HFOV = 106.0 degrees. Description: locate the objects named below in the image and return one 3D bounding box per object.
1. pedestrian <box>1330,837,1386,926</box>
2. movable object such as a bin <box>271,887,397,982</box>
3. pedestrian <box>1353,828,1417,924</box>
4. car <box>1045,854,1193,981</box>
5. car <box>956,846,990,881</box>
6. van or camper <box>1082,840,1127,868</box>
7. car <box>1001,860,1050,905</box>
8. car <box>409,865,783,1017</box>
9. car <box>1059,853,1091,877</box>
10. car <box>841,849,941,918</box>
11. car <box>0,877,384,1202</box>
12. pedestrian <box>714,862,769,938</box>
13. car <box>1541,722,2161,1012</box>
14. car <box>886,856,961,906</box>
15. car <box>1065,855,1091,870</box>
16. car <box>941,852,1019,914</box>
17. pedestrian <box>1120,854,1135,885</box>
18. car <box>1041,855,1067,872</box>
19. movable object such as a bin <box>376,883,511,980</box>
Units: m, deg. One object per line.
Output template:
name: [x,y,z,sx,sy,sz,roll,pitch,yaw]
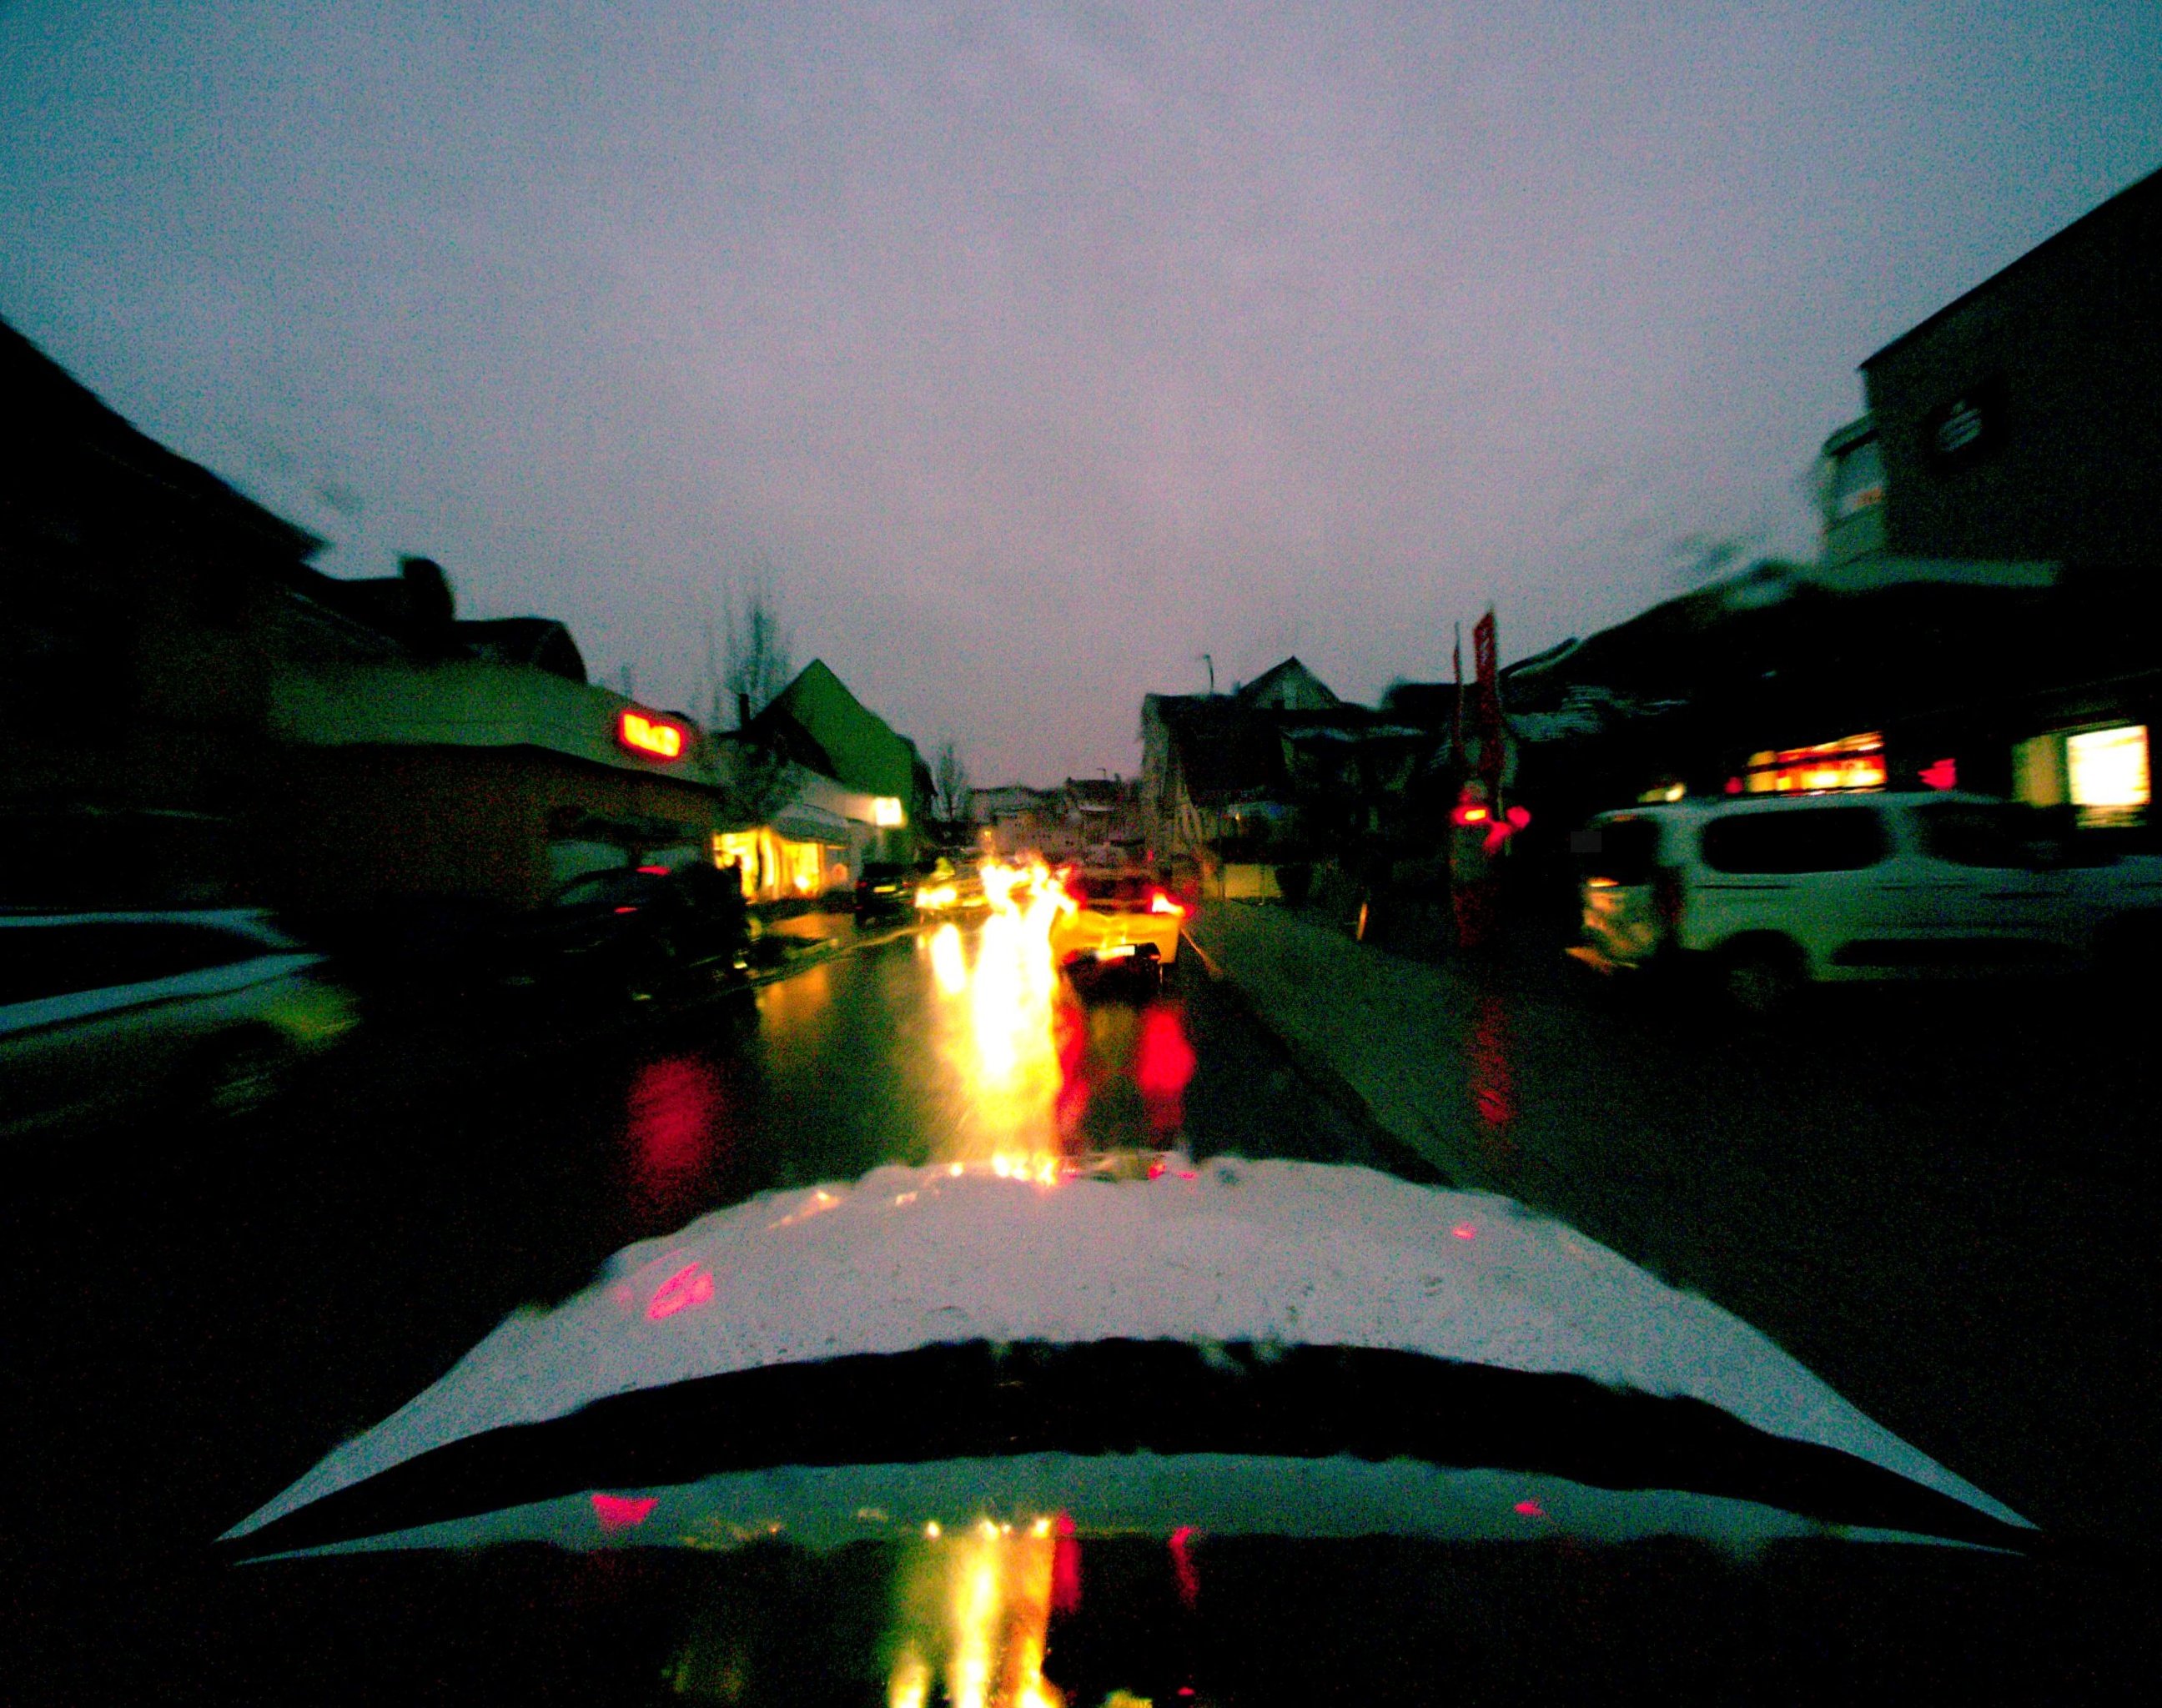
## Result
pedestrian: [5.513,0.546,16.204,0.834,1.705,0.844,-3,-1,28]
movable object such as a bin: [-11.528,1.222,12.611,1.150,1.354,0.848,-1,-1,-10]
pedestrian: [5.688,0.408,15.288,0.702,1.705,0.913,-3,-1,-6]
car: [0.378,0.799,11.993,1.810,1.533,3.995,0,-1,-3]
car: [-8.369,0.758,63.369,2.483,2.560,6.744,0,-1,-7]
van or camper: [2.700,0.002,97.023,2.662,3.047,6.683,-5,1,-22]
car: [-2.399,1.193,35.941,1.947,1.546,4.412,-3,2,-3]
car: [-5.946,0.935,10.945,1.987,1.522,4.977,-1,-1,0]
car: [-0.495,0.764,57.528,1.990,1.588,3.993,0,-1,-5]
car: [-5.484,0.785,24.134,2.082,1.792,5.016,-1,0,-4]
car: [-6.330,0.940,3.876,1.987,1.558,4.621,0,-1,1]
pedestrian: [-8.614,1.144,20.705,0.936,1.876,1.013,-1,-1,2]
car: [6.758,0.129,7.289,4.068,2.049,2.005,-3,-1,8]
car: [-5.759,0.956,30.314,1.874,1.710,4.710,0,-1,0]
car: [-0.379,1.032,96.200,1.997,1.611,4.153,-3,-1,-14]
car: [-3.091,0.832,25.938,1.988,1.705,4.964,1,1,-2]
pedestrian: [2.710,0.882,47.249,0.743,1.729,0.872,-1,0,-3]
car: [-3.230,1.127,95.808,1.998,1.765,4.326,-3,0,-16]
movable object such as a bin: [-10.001,1.190,12.829,1.340,1.354,0.886,-4,-1,-10]
